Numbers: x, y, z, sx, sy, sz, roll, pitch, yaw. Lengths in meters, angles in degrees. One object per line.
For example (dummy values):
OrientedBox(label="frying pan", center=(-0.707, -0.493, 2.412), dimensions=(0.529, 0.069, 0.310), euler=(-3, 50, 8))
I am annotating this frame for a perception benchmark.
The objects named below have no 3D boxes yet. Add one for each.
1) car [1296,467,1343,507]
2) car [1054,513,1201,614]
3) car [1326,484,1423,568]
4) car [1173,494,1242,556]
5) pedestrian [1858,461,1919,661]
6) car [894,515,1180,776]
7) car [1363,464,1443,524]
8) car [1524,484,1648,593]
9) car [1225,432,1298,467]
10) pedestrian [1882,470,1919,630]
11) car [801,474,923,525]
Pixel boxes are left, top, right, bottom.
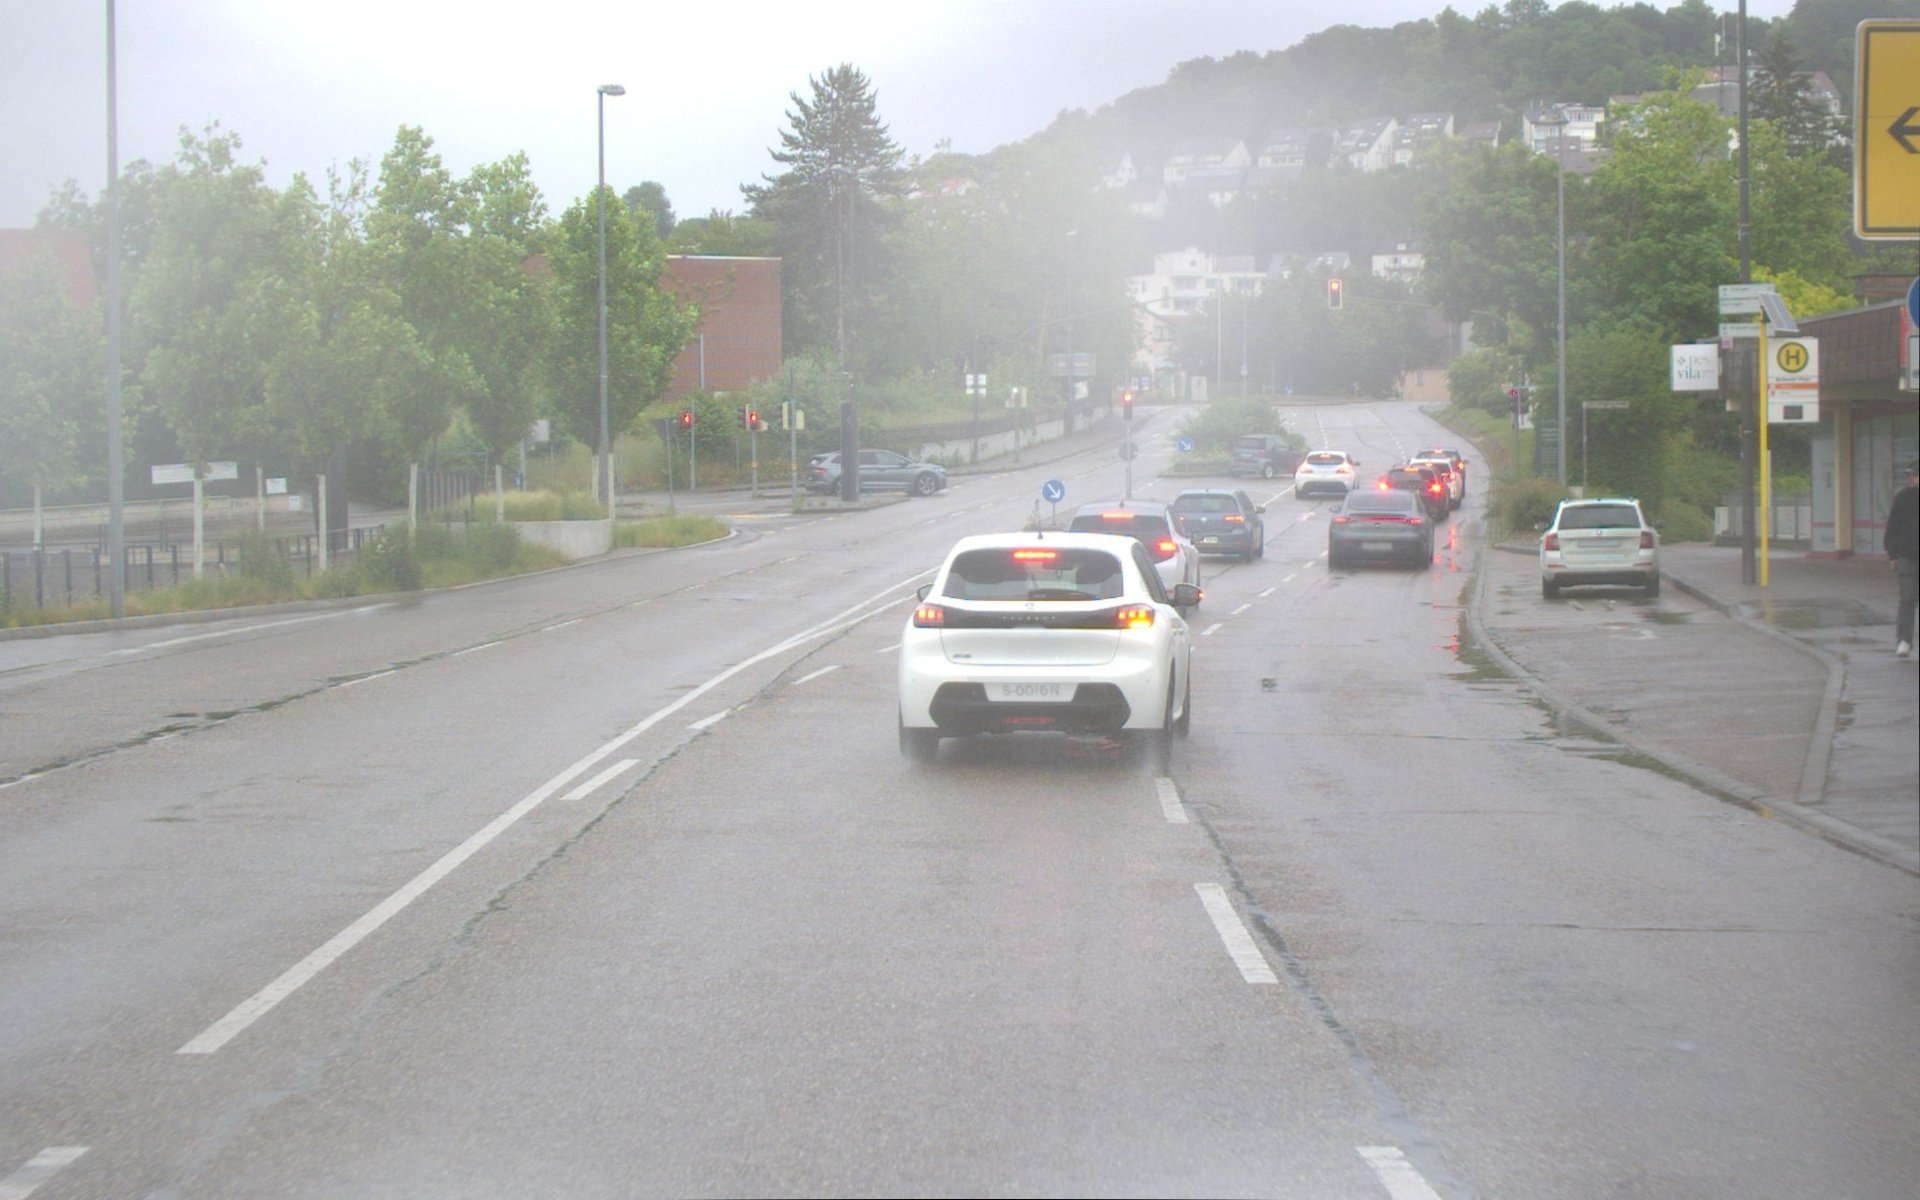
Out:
OrientedBox(label="car", center=(11.106, -3.497, 106.341), dimensions=(1.385, 1.123, 2.609), euler=(-1, 0, 5))
OrientedBox(label="car", center=(2.290, -0.500, 46.383), dimensions=(1.742, 1.291, 3.333), euler=(-1, 1, 6))
OrientedBox(label="car", center=(7.899, -1.437, 65.735), dimensions=(1.734, 1.383, 3.352), euler=(1, 4, 6))
OrientedBox(label="car", center=(4.841, -1.459, 67.419), dimensions=(1.213, 1.152, 2.270), euler=(-1, 0, 1))
OrientedBox(label="pedestrian", center=(8.889, -0.356, 31.842), dimensions=(0.708, 1.815, 0.797), euler=(-1, 0, -27))
OrientedBox(label="car", center=(0.583, 0.225, 22.723), dimensions=(1.691, 1.514, 3.933), euler=(2, 2, 4))
OrientedBox(label="car", center=(11.868, -2.829, 92.304), dimensions=(1.647, 1.480, 3.366), euler=(-1, 0, -1))
OrientedBox(label="car", center=(9.518, -0.962, 52.184), dimensions=(1.731, 1.492, 4.479), euler=(-2, 2, 11))
OrientedBox(label="car", center=(10.678, -5.313, 121.537), dimensions=(1.370, 1.153, 2.421), euler=(-1, 0, 43))
OrientedBox(label="pedestrian", center=(10.687, -0.562, 37.796), dimensions=(0.875, 1.731, 0.760), euler=(-2, 2, 1))
OrientedBox(label="car", center=(-3.206, -3.289, 112.346), dimensions=(3.514, 1.564, 1.801), euler=(-1, 0, -25))
